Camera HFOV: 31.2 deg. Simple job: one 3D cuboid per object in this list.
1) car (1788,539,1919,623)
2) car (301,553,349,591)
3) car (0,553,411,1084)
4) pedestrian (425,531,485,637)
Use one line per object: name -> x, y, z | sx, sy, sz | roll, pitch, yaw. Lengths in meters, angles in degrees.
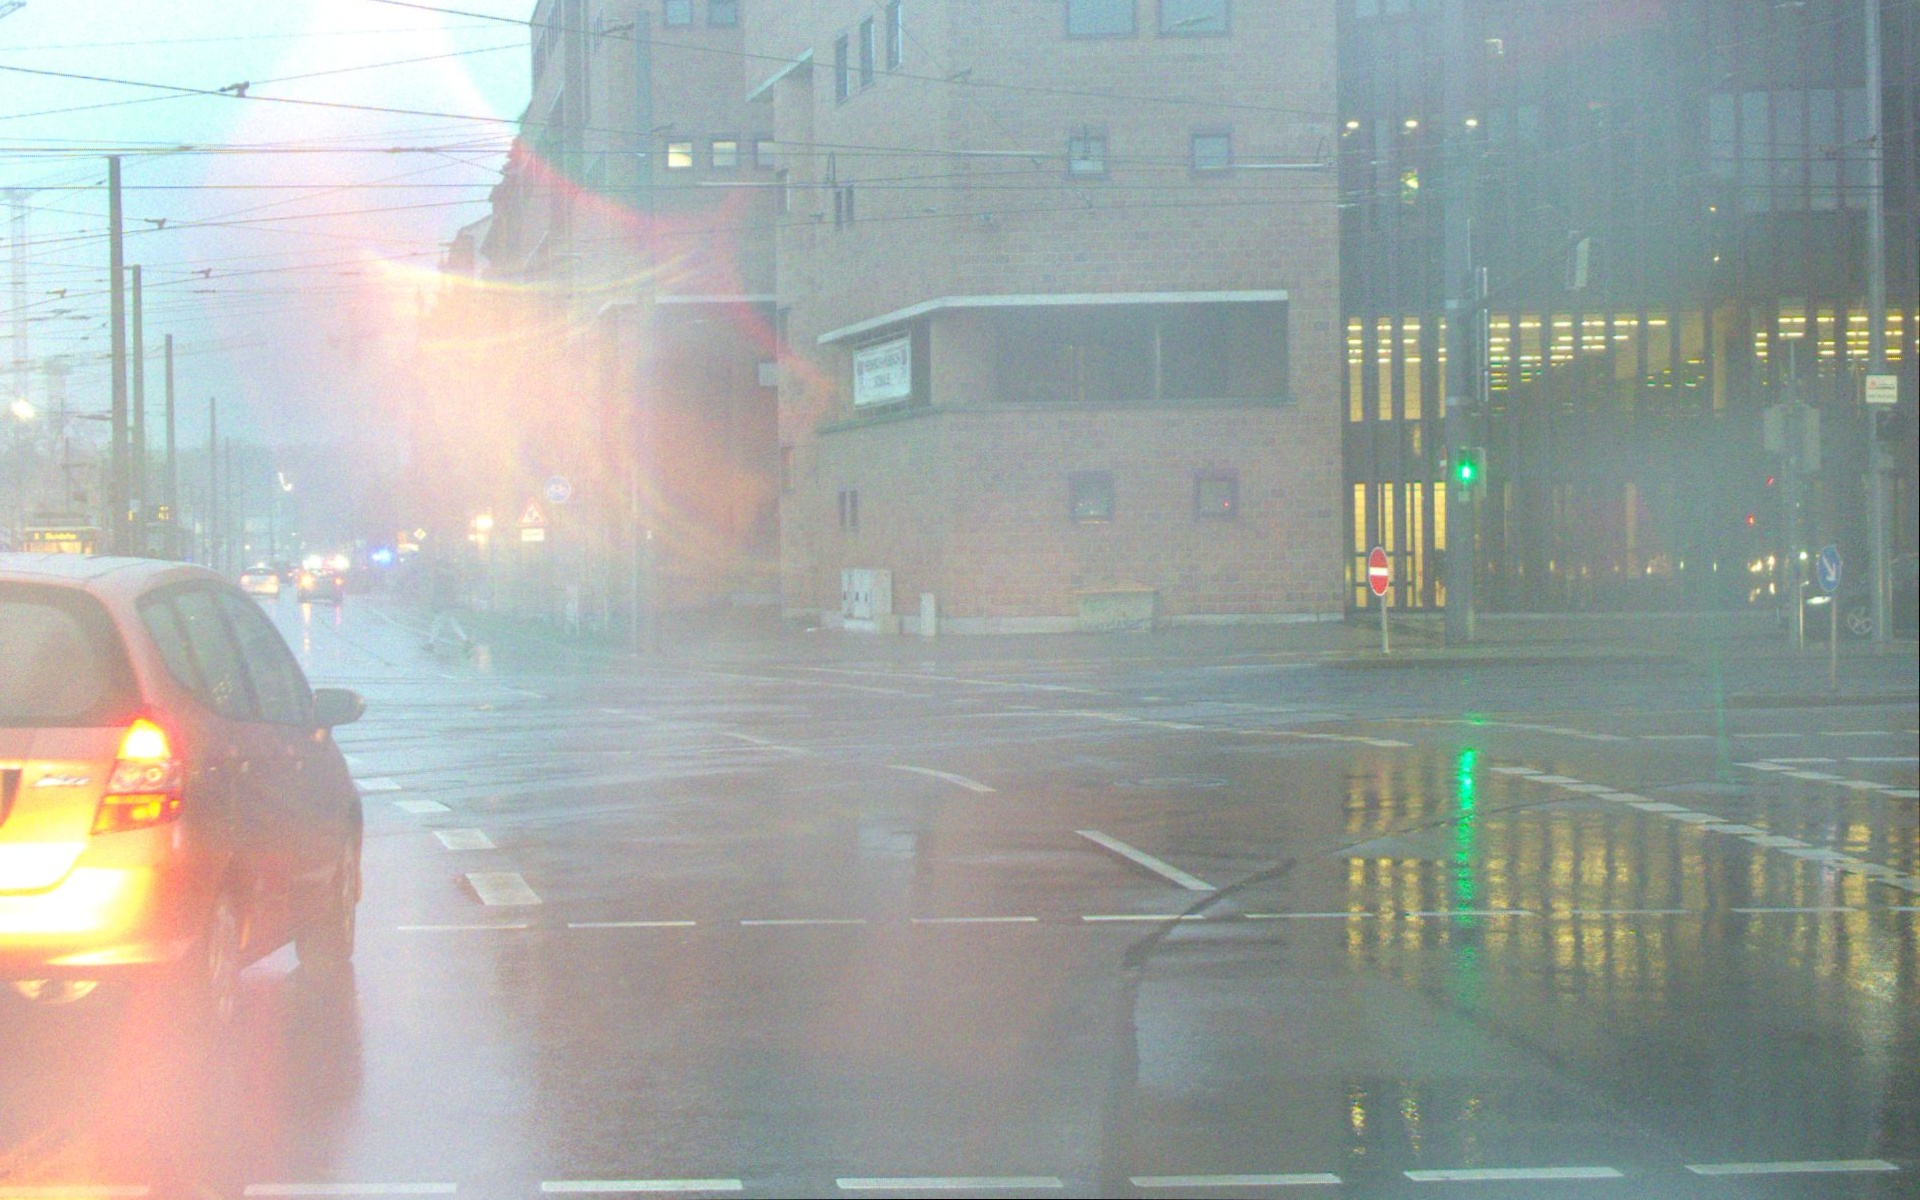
car -> 15.699, -0.341, 55.733 | 3.986, 1.305, 2.000 | -1, 1, -4
car -> -27.459, -1.214, 148.690 | 1.870, 1.573, 4.001 | 1, 1, -8
car -> -2.974, 0.587, 11.369 | 1.698, 1.454, 3.757 | -1, 1, 0
pedestrian -> -9.709, -0.318, 66.113 | 1.068, 2.007, 0.685 | -1, 1, -13
